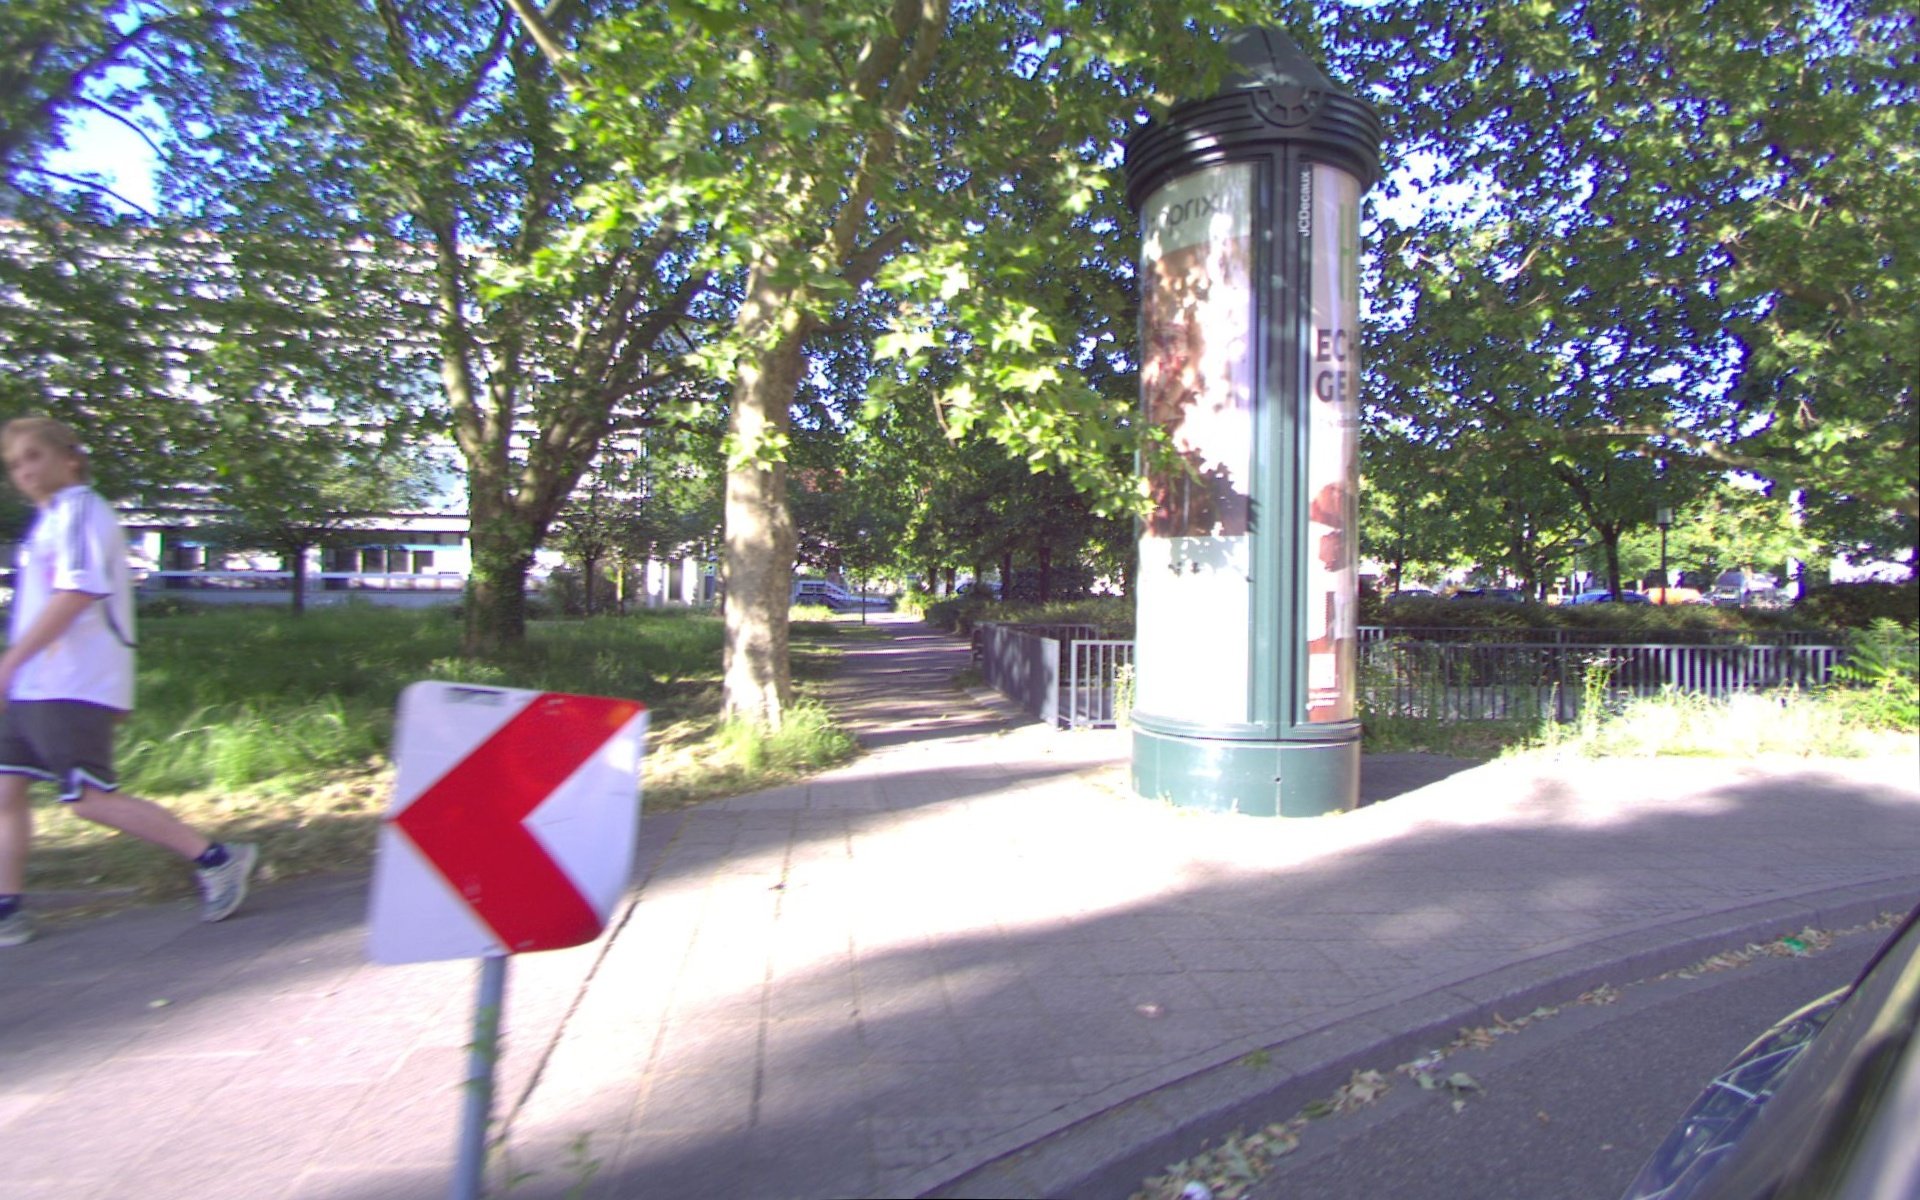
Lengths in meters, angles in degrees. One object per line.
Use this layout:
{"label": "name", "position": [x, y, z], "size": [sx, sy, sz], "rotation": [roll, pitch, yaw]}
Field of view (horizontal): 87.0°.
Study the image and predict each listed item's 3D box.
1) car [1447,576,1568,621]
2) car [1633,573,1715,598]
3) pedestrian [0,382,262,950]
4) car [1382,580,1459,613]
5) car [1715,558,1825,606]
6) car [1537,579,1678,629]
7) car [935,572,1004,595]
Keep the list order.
{"label": "car", "position": [21.147, -0.049, 39.165], "size": [3.918, 1.647, 1.555], "rotation": [1, -1, -7]}
{"label": "car", "position": [55.296, -1.148, 78.543], "size": [2.046, 1.808, 4.925], "rotation": [0, 3, -17]}
{"label": "pedestrian", "position": [-3.224, 0.212, 3.635], "size": [1.111, 1.836, 0.748], "rotation": [1, -1, -31]}
{"label": "car", "position": [28.746, -0.229, 63.262], "size": [3.962, 1.971, 1.927], "rotation": [1, -1, -9]}
{"label": "car", "position": [46.303, -1.023, 57.871], "size": [5.053, 2.605, 2.003], "rotation": [1, 0, -9]}
{"label": "car", "position": [22.133, 0.128, 34.643], "size": [3.916, 1.646, 1.768], "rotation": [1, 1, -12]}
{"label": "car", "position": [0.664, -1.159, 70.623], "size": [4.562, 1.494, 2.017], "rotation": [1, -1, -7]}
